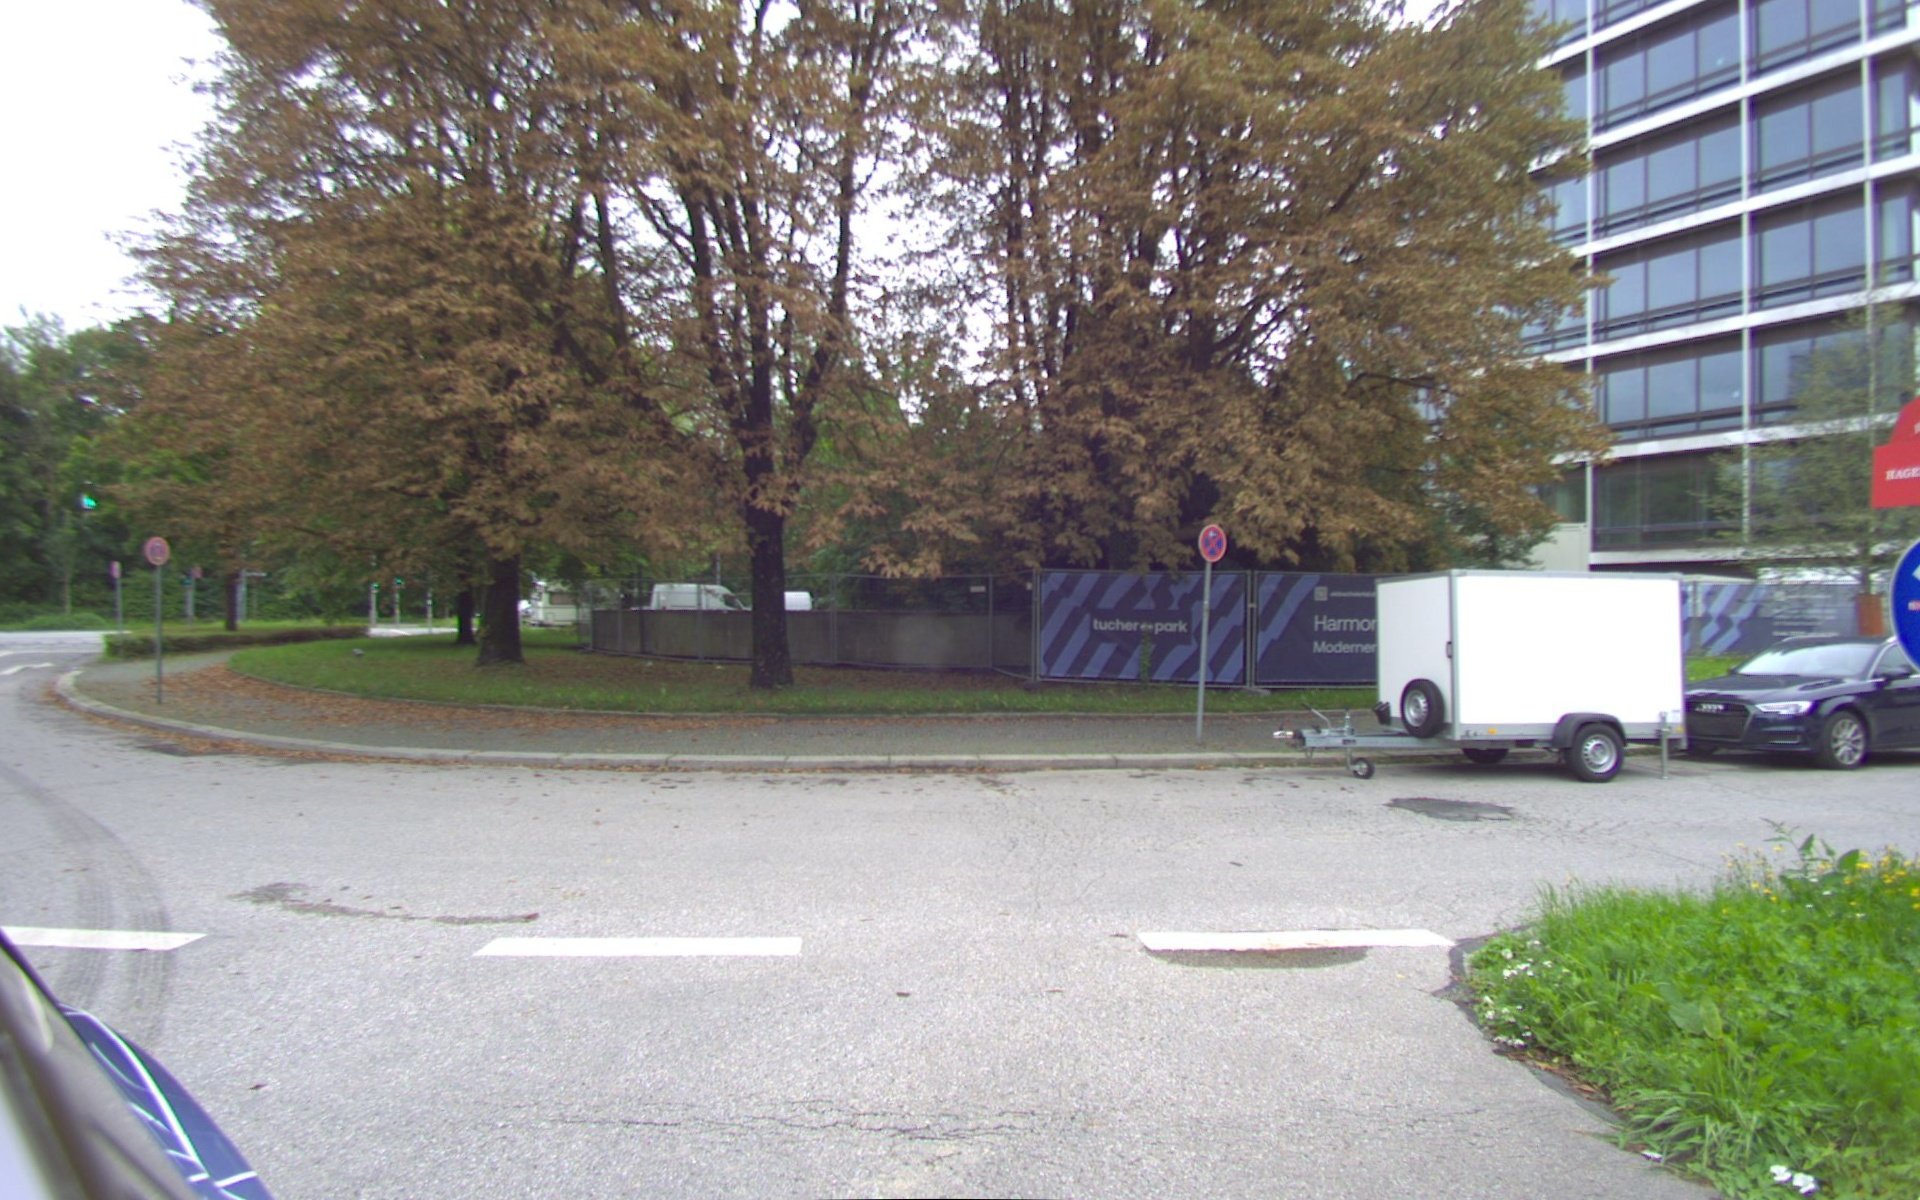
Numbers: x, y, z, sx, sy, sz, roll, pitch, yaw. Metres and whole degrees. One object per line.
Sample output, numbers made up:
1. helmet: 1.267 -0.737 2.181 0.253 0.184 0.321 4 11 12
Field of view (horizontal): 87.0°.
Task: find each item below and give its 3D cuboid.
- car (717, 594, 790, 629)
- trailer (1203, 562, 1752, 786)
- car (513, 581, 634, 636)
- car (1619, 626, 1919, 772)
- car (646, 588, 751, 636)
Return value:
1. car: -15.750 0.908 77.386 5.051 2.600 2.082 1 -1 -35
2. trailer: 5.140 0.680 10.414 4.759 2.029 1.817 -1 -1 -6
3. car: -20.085 0.456 52.702 5.504 2.755 2.082 1 -1 -36
4. car: 10.095 1.027 11.636 4.254 1.448 1.883 0 -2 -17
5. car: -14.661 0.700 56.879 5.367 2.600 2.082 1 -1 -36
